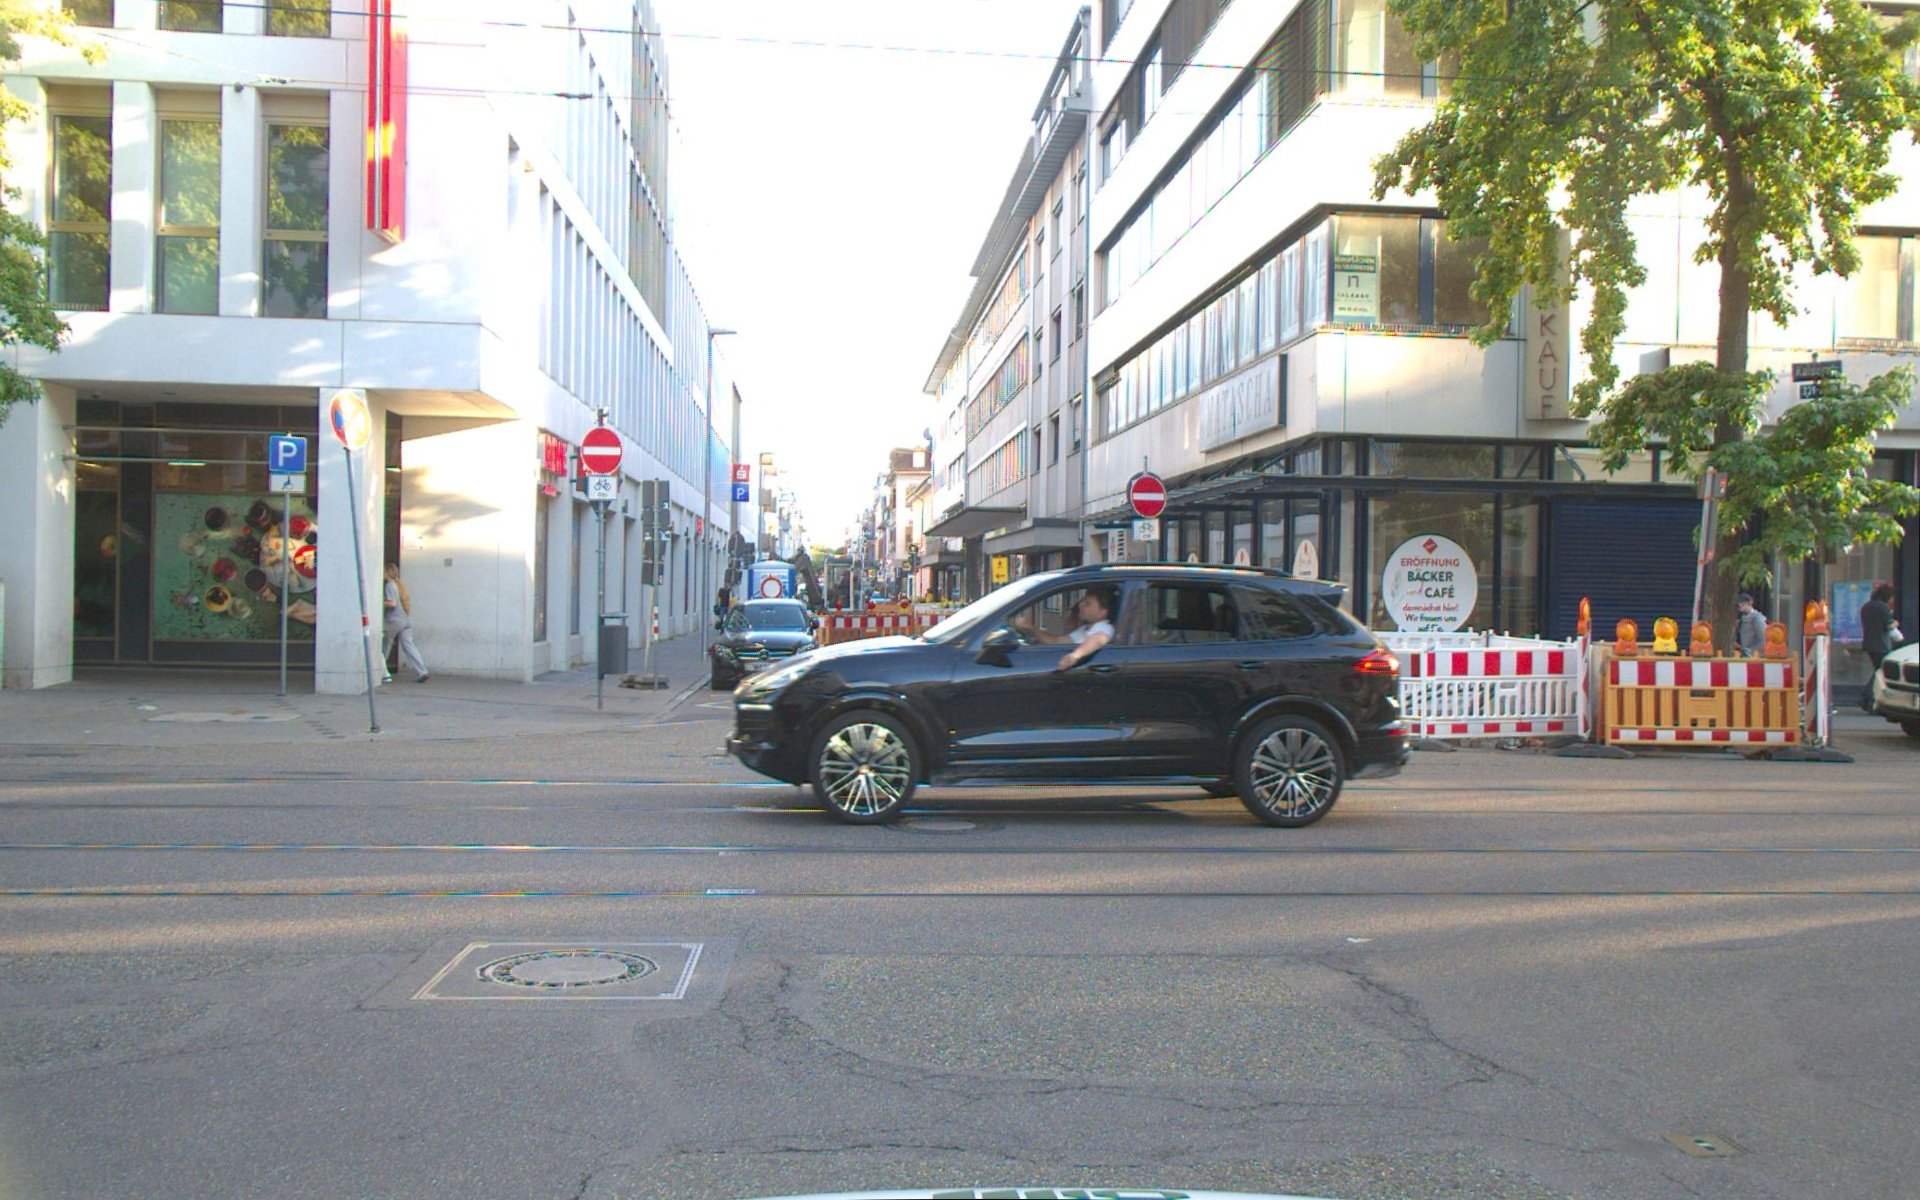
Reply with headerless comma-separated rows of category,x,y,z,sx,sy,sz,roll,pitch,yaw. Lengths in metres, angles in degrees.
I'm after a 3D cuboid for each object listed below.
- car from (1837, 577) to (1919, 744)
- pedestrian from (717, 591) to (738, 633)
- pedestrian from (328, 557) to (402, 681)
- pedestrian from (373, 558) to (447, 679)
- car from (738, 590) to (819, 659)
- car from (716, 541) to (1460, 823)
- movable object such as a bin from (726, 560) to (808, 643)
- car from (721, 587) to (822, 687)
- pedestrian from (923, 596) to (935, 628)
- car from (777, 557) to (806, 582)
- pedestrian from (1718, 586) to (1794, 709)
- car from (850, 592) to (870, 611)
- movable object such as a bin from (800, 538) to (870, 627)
car,13.085,0.722,19.137,4.834,1.806,2.021,1,2,-5
pedestrian,-8.250,0.414,58.747,0.701,1.490,0.525,0,0,-2
pedestrian,-8.126,0.254,22.587,0.856,1.656,0.608,0,0,40
pedestrian,-7.659,0.247,23.023,0.856,1.656,0.608,0,0,40
car,-4.161,0.511,37.542,1.756,1.477,3.137,0,1,-8
car,0.797,0.547,11.699,4.834,1.756,2.020,1,0,-5
movable object such as a bin,-4.983,0.009,43.151,1.954,2.049,3.997,0,0,-4
car,-3.206,0.576,27.937,1.599,1.577,3.137,0,1,-8
pedestrian,-1.504,0.579,80.060,0.513,1.490,0.718,1,0,3
car,-12.429,-2.232,122.180,1.954,1.807,3.996,0,0,-5
pedestrian,10.342,0.603,21.507,0.691,1.576,0.578,0,0,-8
car,-10.143,0.120,166.935,1.954,1.807,3.996,0,0,-5
movable object such as a bin,-4.024,-0.564,53.032,2.114,2.710,4.568,1,0,-5
